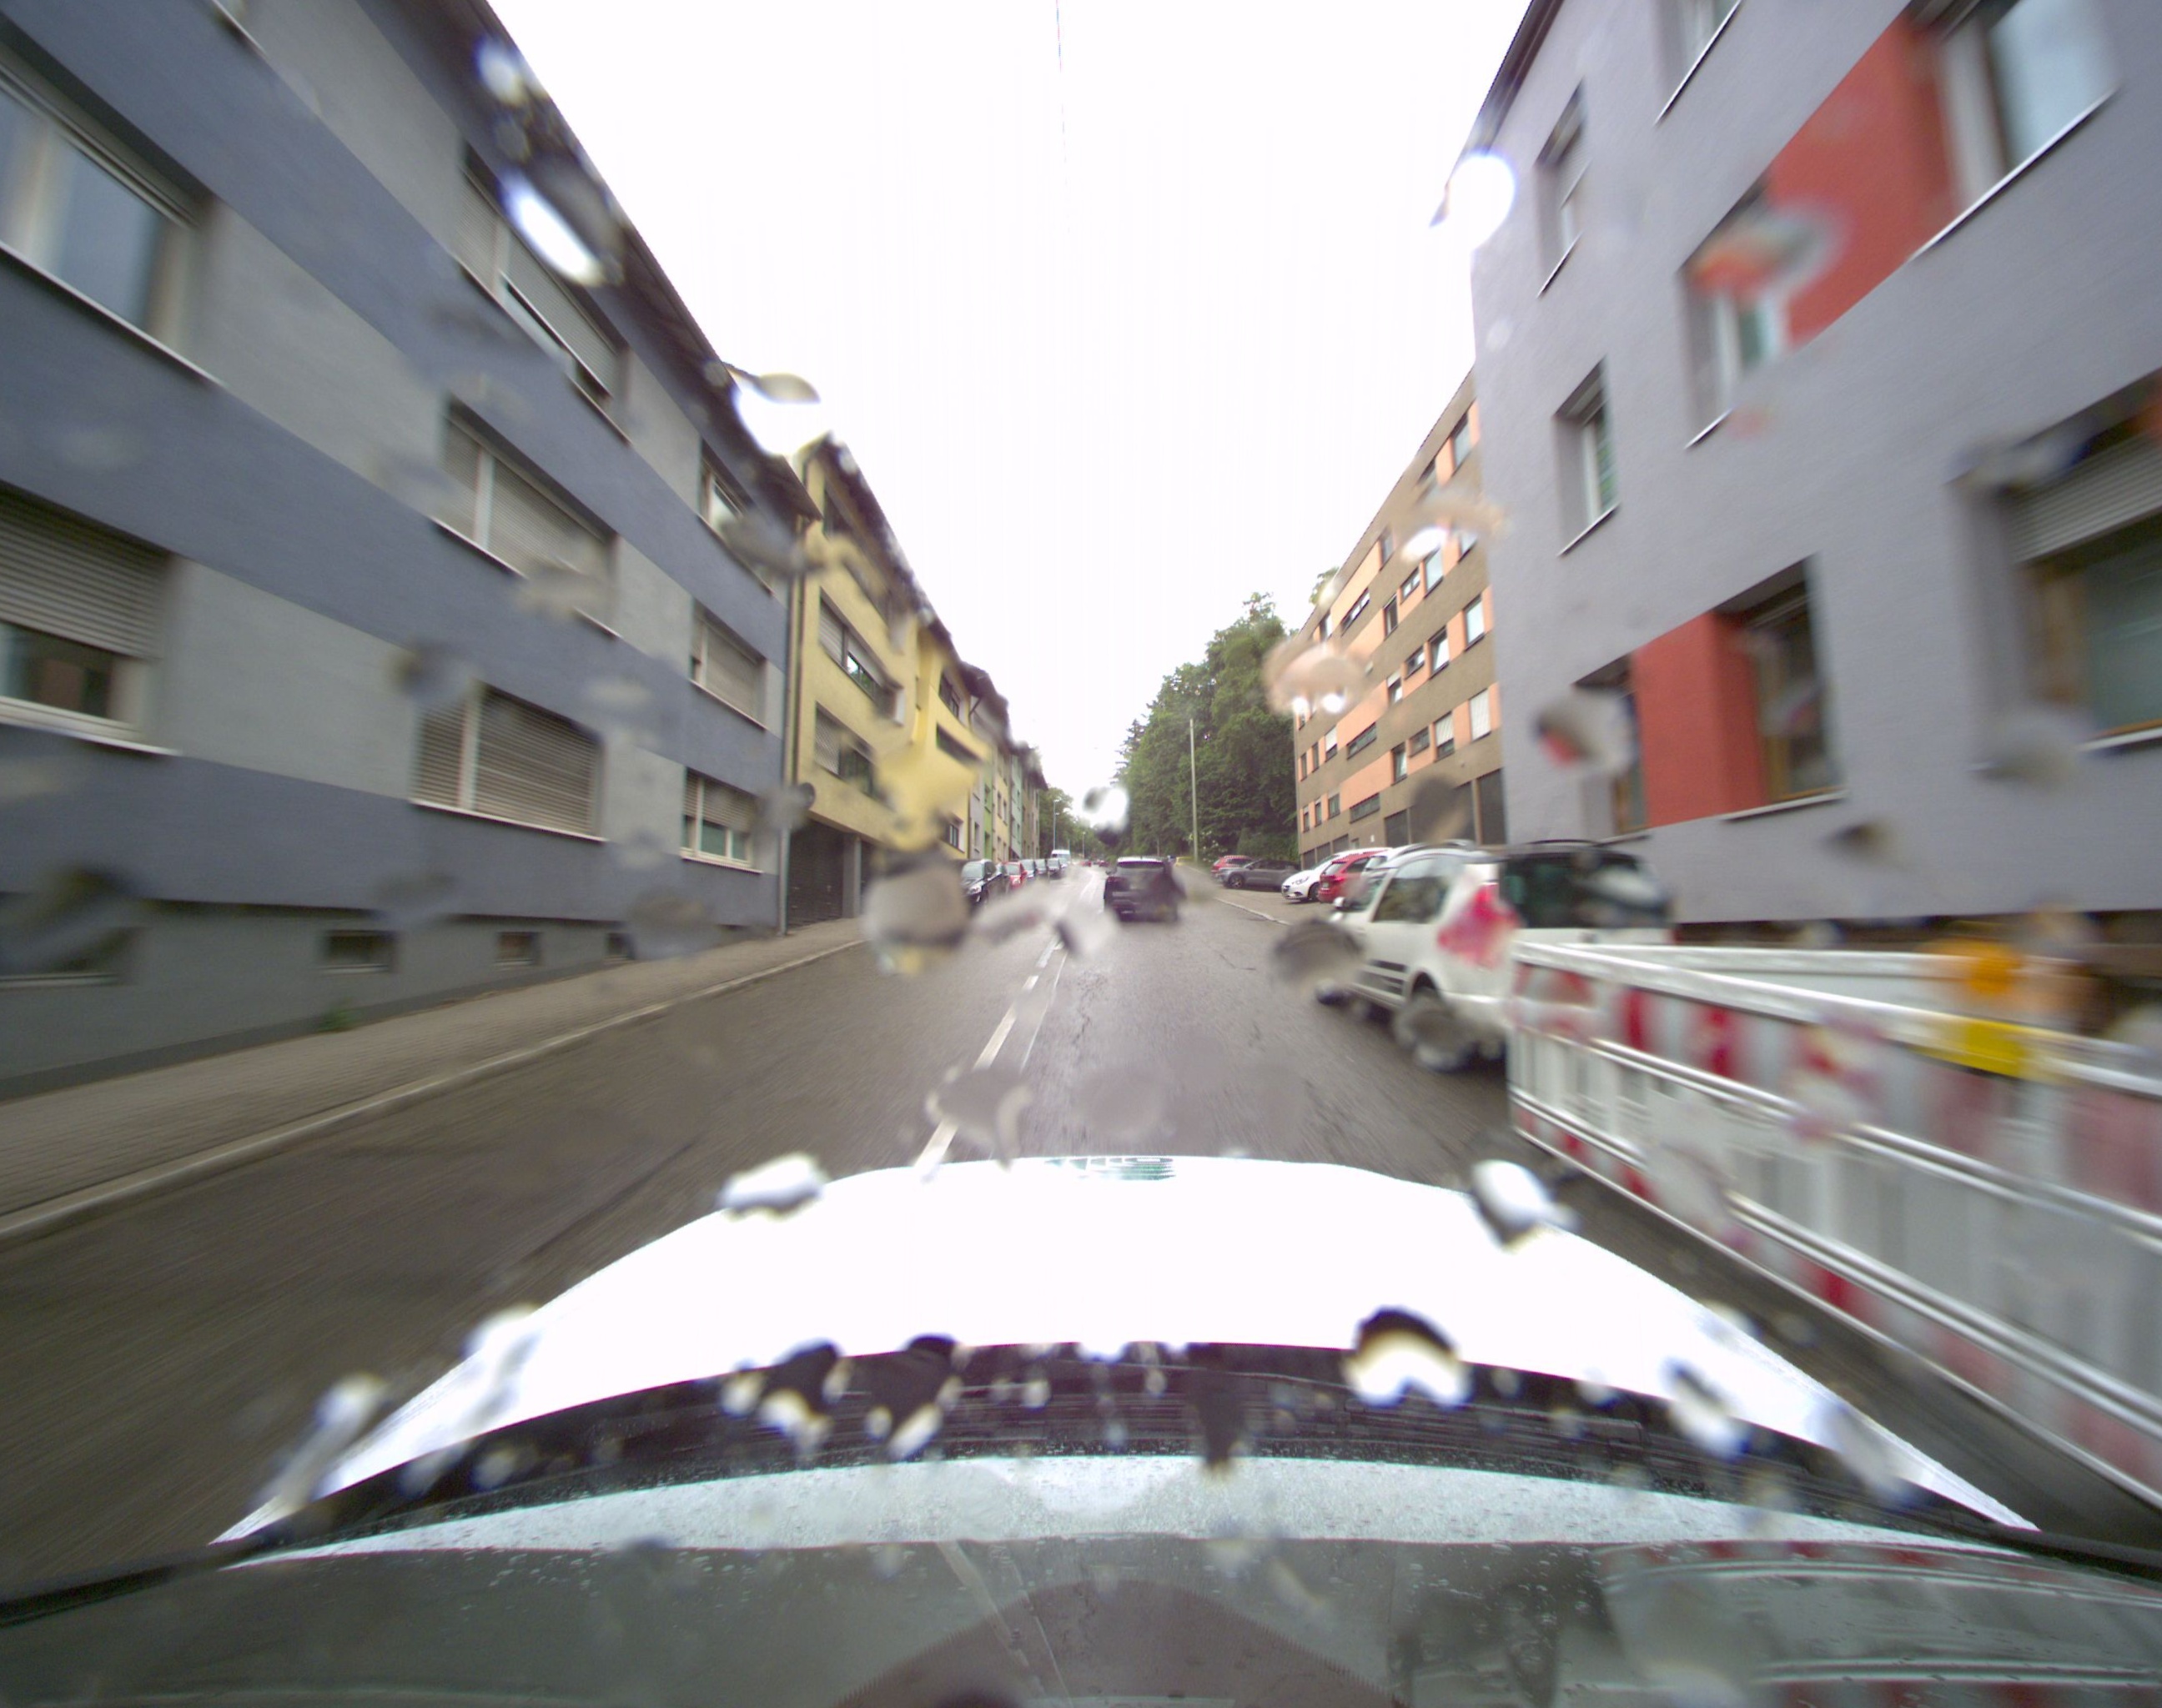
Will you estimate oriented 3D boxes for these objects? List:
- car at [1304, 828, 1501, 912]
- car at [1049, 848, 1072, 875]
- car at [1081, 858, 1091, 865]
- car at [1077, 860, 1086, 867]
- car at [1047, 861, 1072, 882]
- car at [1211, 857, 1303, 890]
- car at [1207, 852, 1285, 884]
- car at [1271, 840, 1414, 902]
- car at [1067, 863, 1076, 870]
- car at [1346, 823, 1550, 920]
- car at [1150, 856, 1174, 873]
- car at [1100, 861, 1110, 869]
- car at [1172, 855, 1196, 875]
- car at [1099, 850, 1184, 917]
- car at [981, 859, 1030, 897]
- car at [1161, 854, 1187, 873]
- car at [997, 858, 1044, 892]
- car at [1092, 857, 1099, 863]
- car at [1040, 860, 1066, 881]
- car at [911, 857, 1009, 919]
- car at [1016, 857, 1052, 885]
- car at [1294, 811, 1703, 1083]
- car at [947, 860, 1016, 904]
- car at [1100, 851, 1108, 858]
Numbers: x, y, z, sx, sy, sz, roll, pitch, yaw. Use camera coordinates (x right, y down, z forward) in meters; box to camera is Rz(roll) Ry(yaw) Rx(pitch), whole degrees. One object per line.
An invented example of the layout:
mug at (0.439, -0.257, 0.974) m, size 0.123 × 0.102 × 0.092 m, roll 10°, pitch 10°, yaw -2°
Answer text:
car at (8.372, 0.402, 21.472) m, size 4.328 × 1.529 × 1.876 m, roll -8°, pitch 0°, yaw 0°
car at (-1.989, 0.698, 79.408) m, size 1.984 × 2.475 × 5.783 m, roll -1°, pitch 0°, yaw 0°
car at (1.100, 1.682, 176.028) m, size 2.068 × 1.559 × 3.999 m, roll 0°, pitch 0°, yaw 0°
car at (0.134, 2.260, 197.921) m, size 2.068 × 1.559 × 4.000 m, roll 0°, pitch 0°, yaw 0°
car at (-1.889, 1.518, 72.576) m, size 1.984 × 1.755 × 4.479 m, roll -1°, pitch 0°, yaw 0°
car at (8.789, 0.974, 40.814) m, size 4.186 × 1.496 × 1.759 m, roll 2°, pitch -1°, yaw -1°
car at (9.760, 0.801, 48.364) m, size 4.188 × 1.734 × 1.758 m, roll 2°, pitch -1°, yaw -3°
car at (8.384, 0.533, 26.307) m, size 3.953 × 1.530 × 1.691 m, roll -6°, pitch 0°, yaw -3°
car at (-2.126, 2.835, 186.578) m, size 1.987 × 1.559 × 3.999 m, roll 1°, pitch 0°, yaw -1°
car at (8.437, 0.381, 18.948) m, size 3.815 × 1.702 × 1.728 m, roll -7°, pitch 0°, yaw -1°
car at (8.094, 1.023, 81.507) m, size 1.806 × 1.530 × 4.415 m, roll -3°, pitch -1°, yaw -1°
car at (5.201, 2.407, 177.239) m, size 2.069 × 1.559 × 3.997 m, roll 0°, pitch 0°, yaw -2°
car at (8.093, 0.872, 64.095) m, size 1.626 × 1.530 × 4.004 m, roll 0°, pitch 0°, yaw 4°
car at (1.471, 0.690, 21.183) m, size 1.986 × 1.559 × 4.001 m, roll 1°, pitch 0°, yaw 1°
car at (-3.187, 0.971, 34.739) m, size 1.723 × 1.472 × 3.491 m, roll -1°, pitch 0°, yaw 0°
car at (8.073, 0.834, 71.062) m, size 1.804 × 1.530 × 4.417 m, roll -3°, pitch -1°, yaw 1°
car at (-3.025, 1.019, 41.570) m, size 1.987 × 1.585 × 4.471 m, roll -1°, pitch 0°, yaw 0°
car at (4.570, 1.820, 250.501) m, size 1.985 × 1.560 × 4.003 m, roll -2°, pitch -2°, yaw 3°
car at (-2.246, 1.312, 66.574) m, size 1.984 × 1.585 × 4.304 m, roll -1°, pitch 0°, yaw 0°
car at (-3.515, 0.939, 24.452) m, size 1.985 × 1.650 × 4.446 m, roll -1°, pitch 0°, yaw 3°
car at (-2.761, 0.994, 48.868) m, size 1.847 × 1.585 × 4.304 m, roll -1°, pitch 0°, yaw 0°
car at (3.260, 0.598, 7.329) m, size 1.635 × 1.762 × 4.000 m, roll 1°, pitch 0°, yaw 0°
car at (-3.604, 0.983, 30.325) m, size 1.987 × 1.472 × 4.348 m, roll -1°, pitch 0°, yaw 0°
car at (6.241, 0.200, 224.189) m, size 1.985 × 1.560 × 4.003 m, roll -2°, pitch -2°, yaw 3°
